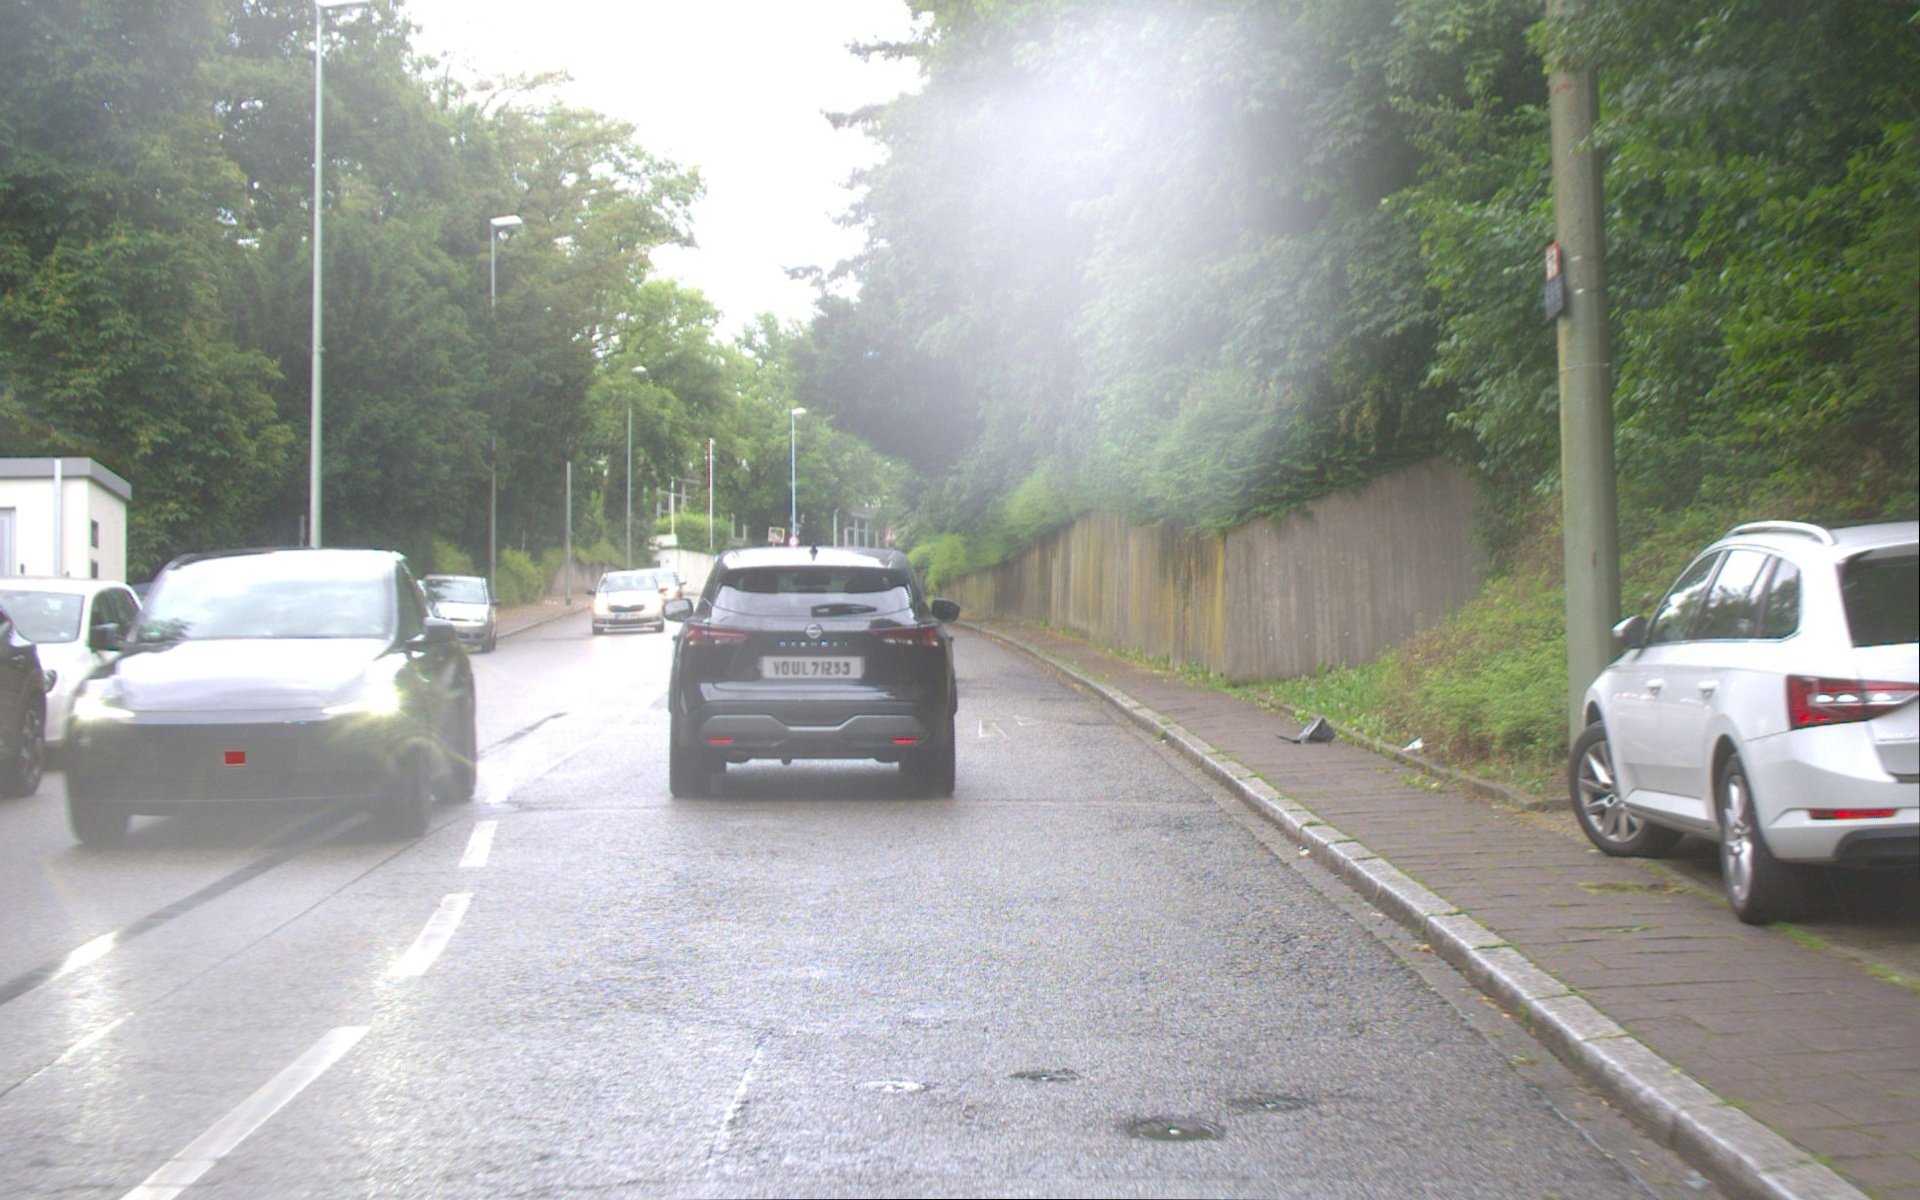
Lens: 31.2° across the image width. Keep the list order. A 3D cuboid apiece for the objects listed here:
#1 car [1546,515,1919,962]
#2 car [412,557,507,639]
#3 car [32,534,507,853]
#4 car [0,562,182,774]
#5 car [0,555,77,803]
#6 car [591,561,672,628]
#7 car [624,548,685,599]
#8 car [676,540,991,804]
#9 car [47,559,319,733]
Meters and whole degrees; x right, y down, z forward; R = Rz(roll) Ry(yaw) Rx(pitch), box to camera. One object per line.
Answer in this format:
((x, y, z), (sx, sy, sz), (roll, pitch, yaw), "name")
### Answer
((3.713, 0.417, 14.123), (1.738, 1.473, 4.740), (-3, 1, 0), "car")
((-9.723, -0.064, 66.975), (1.625, 1.494, 3.929), (1, 1, -6), "car")
((-3.898, 0.452, 20.193), (1.936, 1.619, 4.500), (-1, 1, -1), "car")
((-7.658, 0.508, 28.016), (1.656, 1.564, 4.148), (-2, 1, 0), "car")
((-7.059, 0.558, 22.039), (1.644, 1.598, 4.186), (-3, 1, 0), "car")
((-7.773, -0.152, 81.564), (1.724, 1.430, 3.913), (-3, 1, -4), "car")
((-9.514, -0.834, 107.223), (1.760, 1.486, 4.001), (-2, 1, -4), "car")
((-0.913, 0.412, 23.112), (1.928, 1.607, 4.001), (0, 1, -4), "car")
((-7.754, 0.405, 34.743), (1.859, 1.488, 4.756), (-4, 1, -4), "car")
